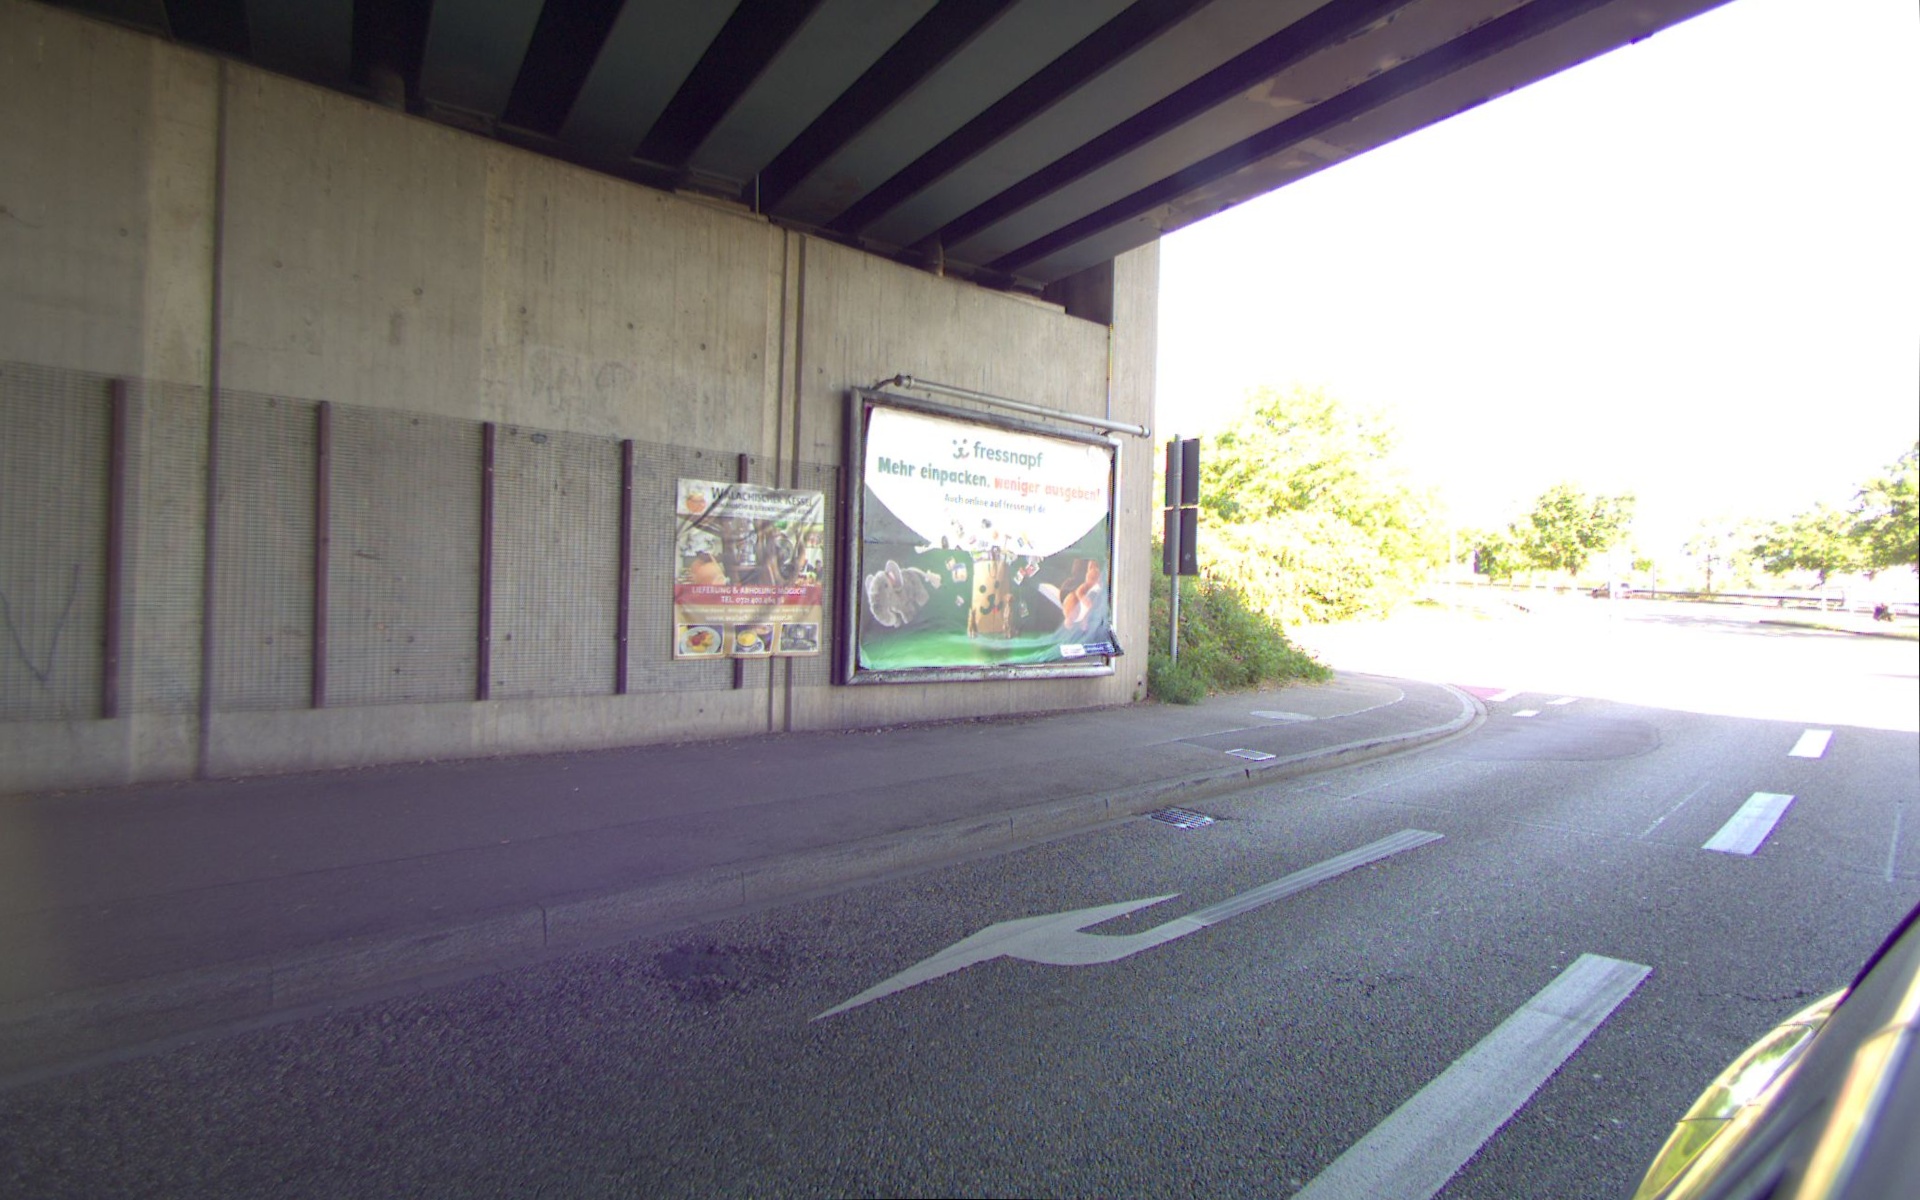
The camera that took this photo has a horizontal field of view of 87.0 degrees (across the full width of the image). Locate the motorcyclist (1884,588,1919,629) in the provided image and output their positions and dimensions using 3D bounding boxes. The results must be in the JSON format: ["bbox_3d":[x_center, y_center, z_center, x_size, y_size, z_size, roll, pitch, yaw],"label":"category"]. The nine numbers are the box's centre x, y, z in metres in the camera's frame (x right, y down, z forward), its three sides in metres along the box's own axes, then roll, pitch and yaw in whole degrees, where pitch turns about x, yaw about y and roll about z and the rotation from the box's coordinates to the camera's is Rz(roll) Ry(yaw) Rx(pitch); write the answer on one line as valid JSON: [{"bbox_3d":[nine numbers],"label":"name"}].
[{"bbox_3d":[52.883,0.489,56.793,1.093,2.269,1.177,0,0,16],"label":"motorcyclist"}]

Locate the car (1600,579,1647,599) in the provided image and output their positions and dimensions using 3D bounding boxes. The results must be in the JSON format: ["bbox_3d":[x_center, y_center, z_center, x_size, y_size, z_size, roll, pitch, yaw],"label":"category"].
[{"bbox_3d":[64.039,-1.116,97.786,1.799,1.759,4.523,3,2,6],"label":"car"}]

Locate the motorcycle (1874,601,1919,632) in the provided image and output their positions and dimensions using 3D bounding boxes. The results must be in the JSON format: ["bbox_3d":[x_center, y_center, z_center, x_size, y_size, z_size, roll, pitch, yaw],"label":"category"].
[{"bbox_3d":[52.905,0.896,56.784,1.093,1.681,3.140,0,0,15],"label":"motorcycle"}]
